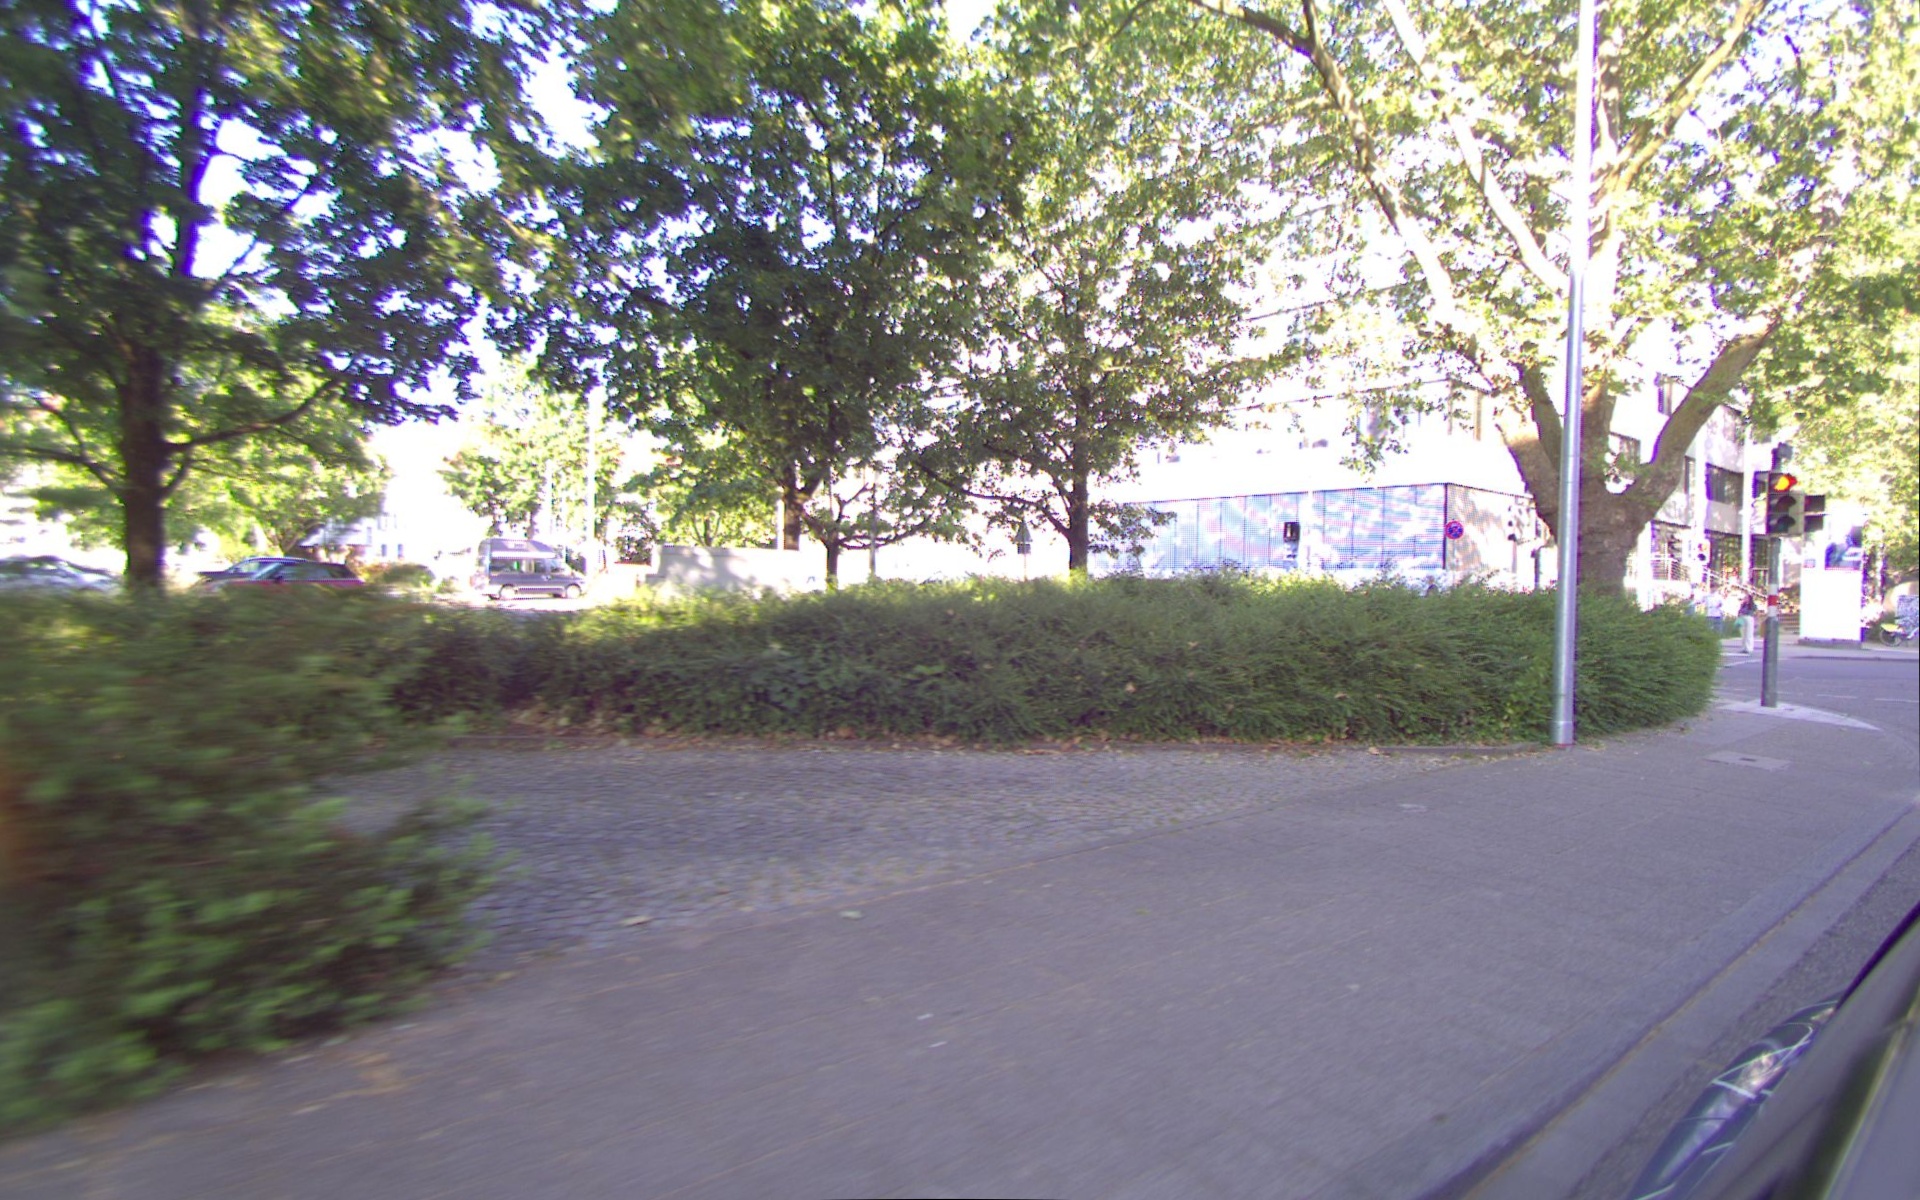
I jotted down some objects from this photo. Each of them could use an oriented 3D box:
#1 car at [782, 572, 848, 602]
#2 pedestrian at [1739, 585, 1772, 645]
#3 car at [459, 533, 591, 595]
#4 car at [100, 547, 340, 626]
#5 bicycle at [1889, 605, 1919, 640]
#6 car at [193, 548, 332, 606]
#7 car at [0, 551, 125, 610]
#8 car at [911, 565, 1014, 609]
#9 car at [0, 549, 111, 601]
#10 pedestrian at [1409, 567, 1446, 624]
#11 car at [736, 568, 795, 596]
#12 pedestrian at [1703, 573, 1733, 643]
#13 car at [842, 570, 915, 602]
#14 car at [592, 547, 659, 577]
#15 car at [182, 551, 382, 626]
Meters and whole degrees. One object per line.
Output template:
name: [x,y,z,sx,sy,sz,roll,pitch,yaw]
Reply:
car: [-7.748,-0.718,53.951,1.602,1.503,3.845,0,2,-41]
pedestrian: [20.969,0.395,26.684,0.670,1.543,0.553,1,0,39]
car: [-19.477,-1.569,45.411,5.070,2.604,1.997,0,1,-42]
car: [-16.648,-0.289,22.870,4.236,1.621,1.785,0,1,-41]
bicycle: [29.954,0.713,31.319,1.619,1.011,0.617,3,4,25]
car: [-26.907,-0.864,39.084,4.236,2.115,1.785,1,1,-41]
car: [-26.894,-0.549,29.490,3.928,1.647,1.922,1,0,-40]
car: [0.060,-0.631,46.260,2.073,1.851,4.712,0,2,-41]
car: [-36.735,-0.979,40.683,3.975,1.971,1.921,1,-1,-41]
pedestrian: [15.164,-0.163,32.829,0.983,1.793,0.602,1,1,19]
car: [-11.087,-1.023,57.560,1.602,1.503,3.845,0,2,-41]
pedestrian: [20.382,0.209,27.235,0.600,1.862,0.562,1,0,35]
car: [-4.108,-0.695,50.611,1.602,1.503,3.845,0,2,-41]
car: [-22.364,-2.536,67.661,4.894,1.808,2.059,4,3,41]
car: [-18.013,-0.290,26.994,4.236,1.834,1.785,0,1,-41]
